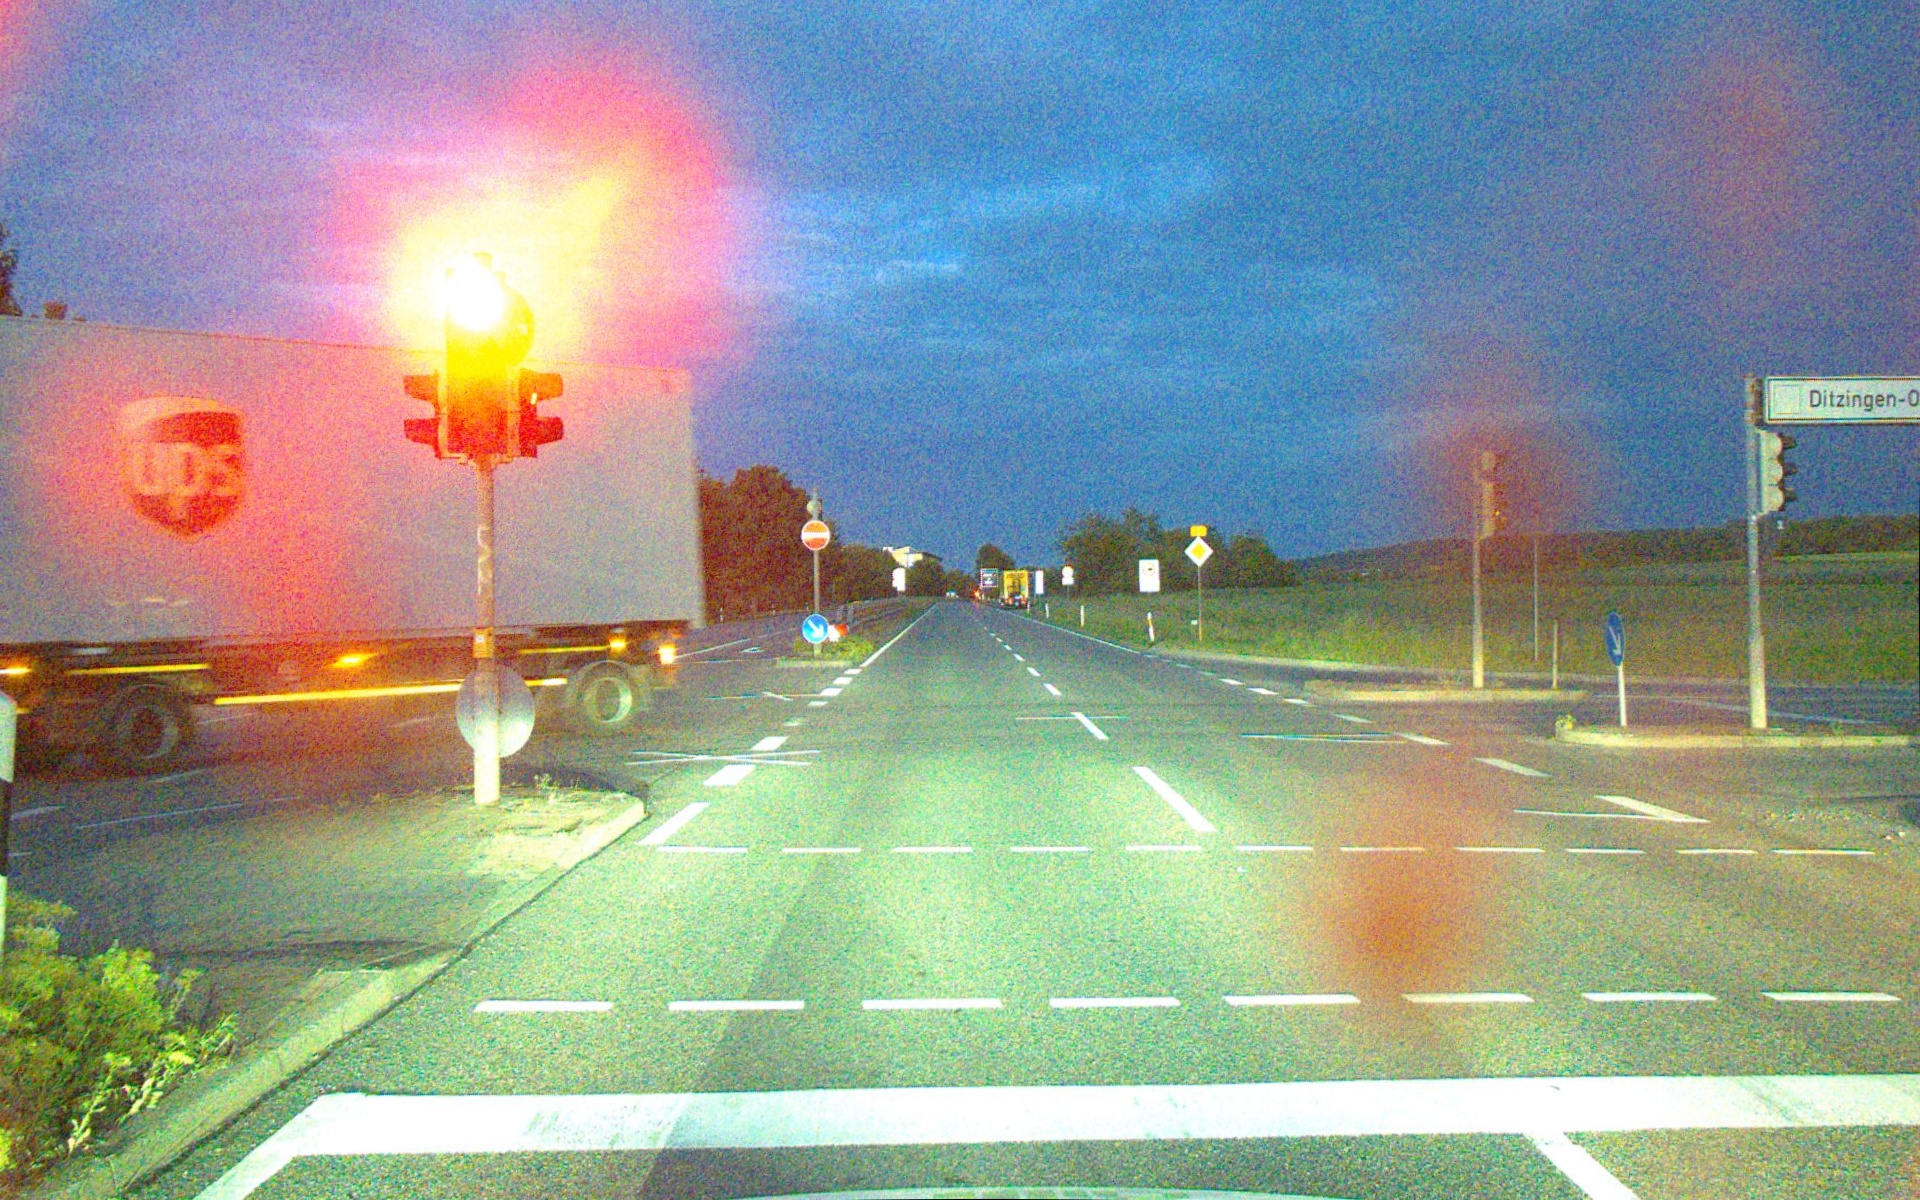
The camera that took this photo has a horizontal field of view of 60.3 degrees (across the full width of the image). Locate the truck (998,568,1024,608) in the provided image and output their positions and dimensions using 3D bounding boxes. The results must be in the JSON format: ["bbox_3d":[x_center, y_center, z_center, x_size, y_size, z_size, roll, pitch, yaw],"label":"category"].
[{"bbox_3d":[5.377,-1.272,175.044,2.526,4.142,6.130,1,1,0],"label":"truck"}]

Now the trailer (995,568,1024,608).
[{"bbox_3d":[5.396,-1.328,182.124,2.568,4.175,12.935,-1,0,0],"label":"trailer"}]

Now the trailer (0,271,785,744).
[{"bbox_3d":[-6.231,-0.866,17.287,8.792,4.012,2.548,-2,1,-40],"label":"trailer"}]
